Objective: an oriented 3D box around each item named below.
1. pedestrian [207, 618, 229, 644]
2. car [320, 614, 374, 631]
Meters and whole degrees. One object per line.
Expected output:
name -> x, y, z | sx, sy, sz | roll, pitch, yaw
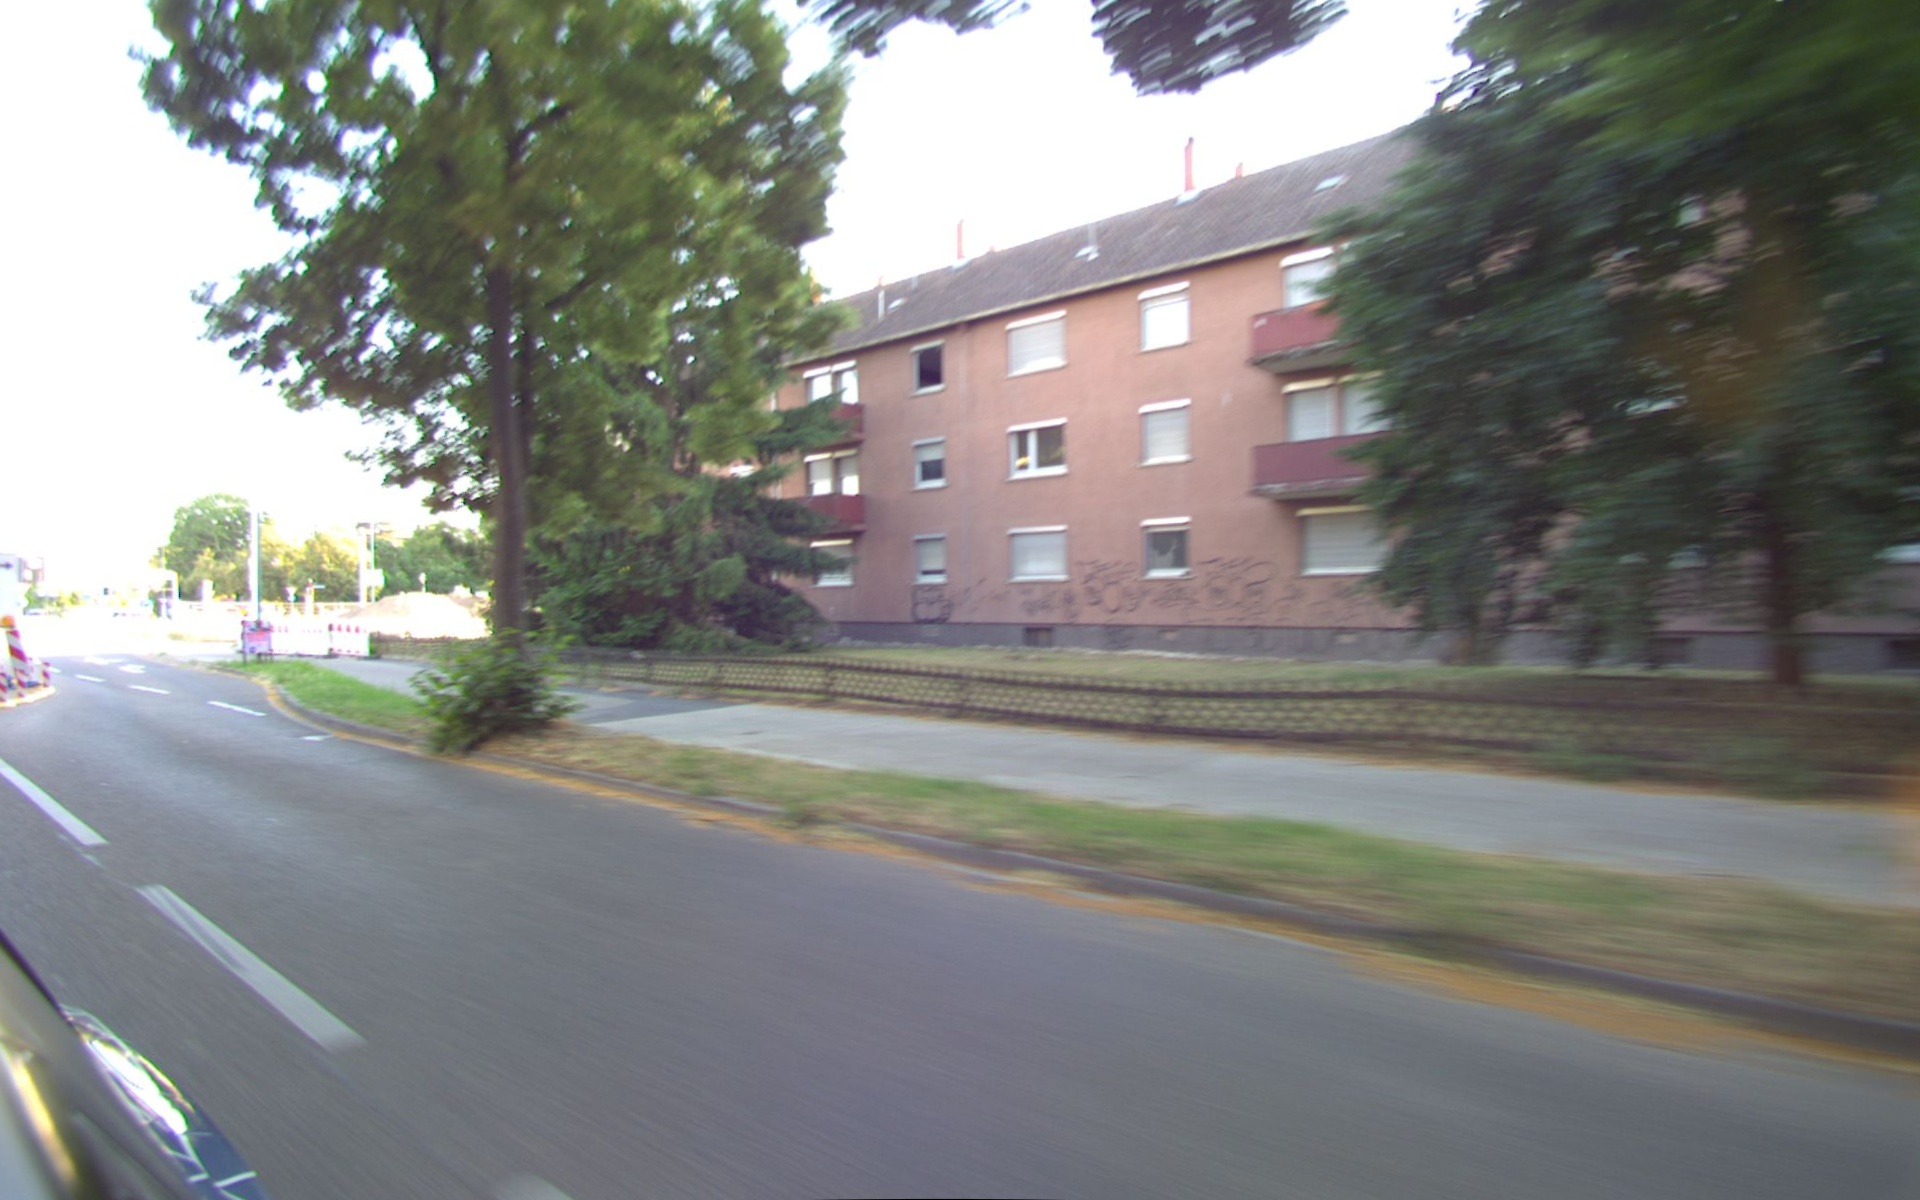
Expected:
pedestrian -> -48.635, 2.037, 66.314 | 0.784, 1.708, 0.917 | 0, -2, 29
car -> -54.862, 1.999, 90.639 | 1.623, 1.475, 3.964 | 0, 0, 27
